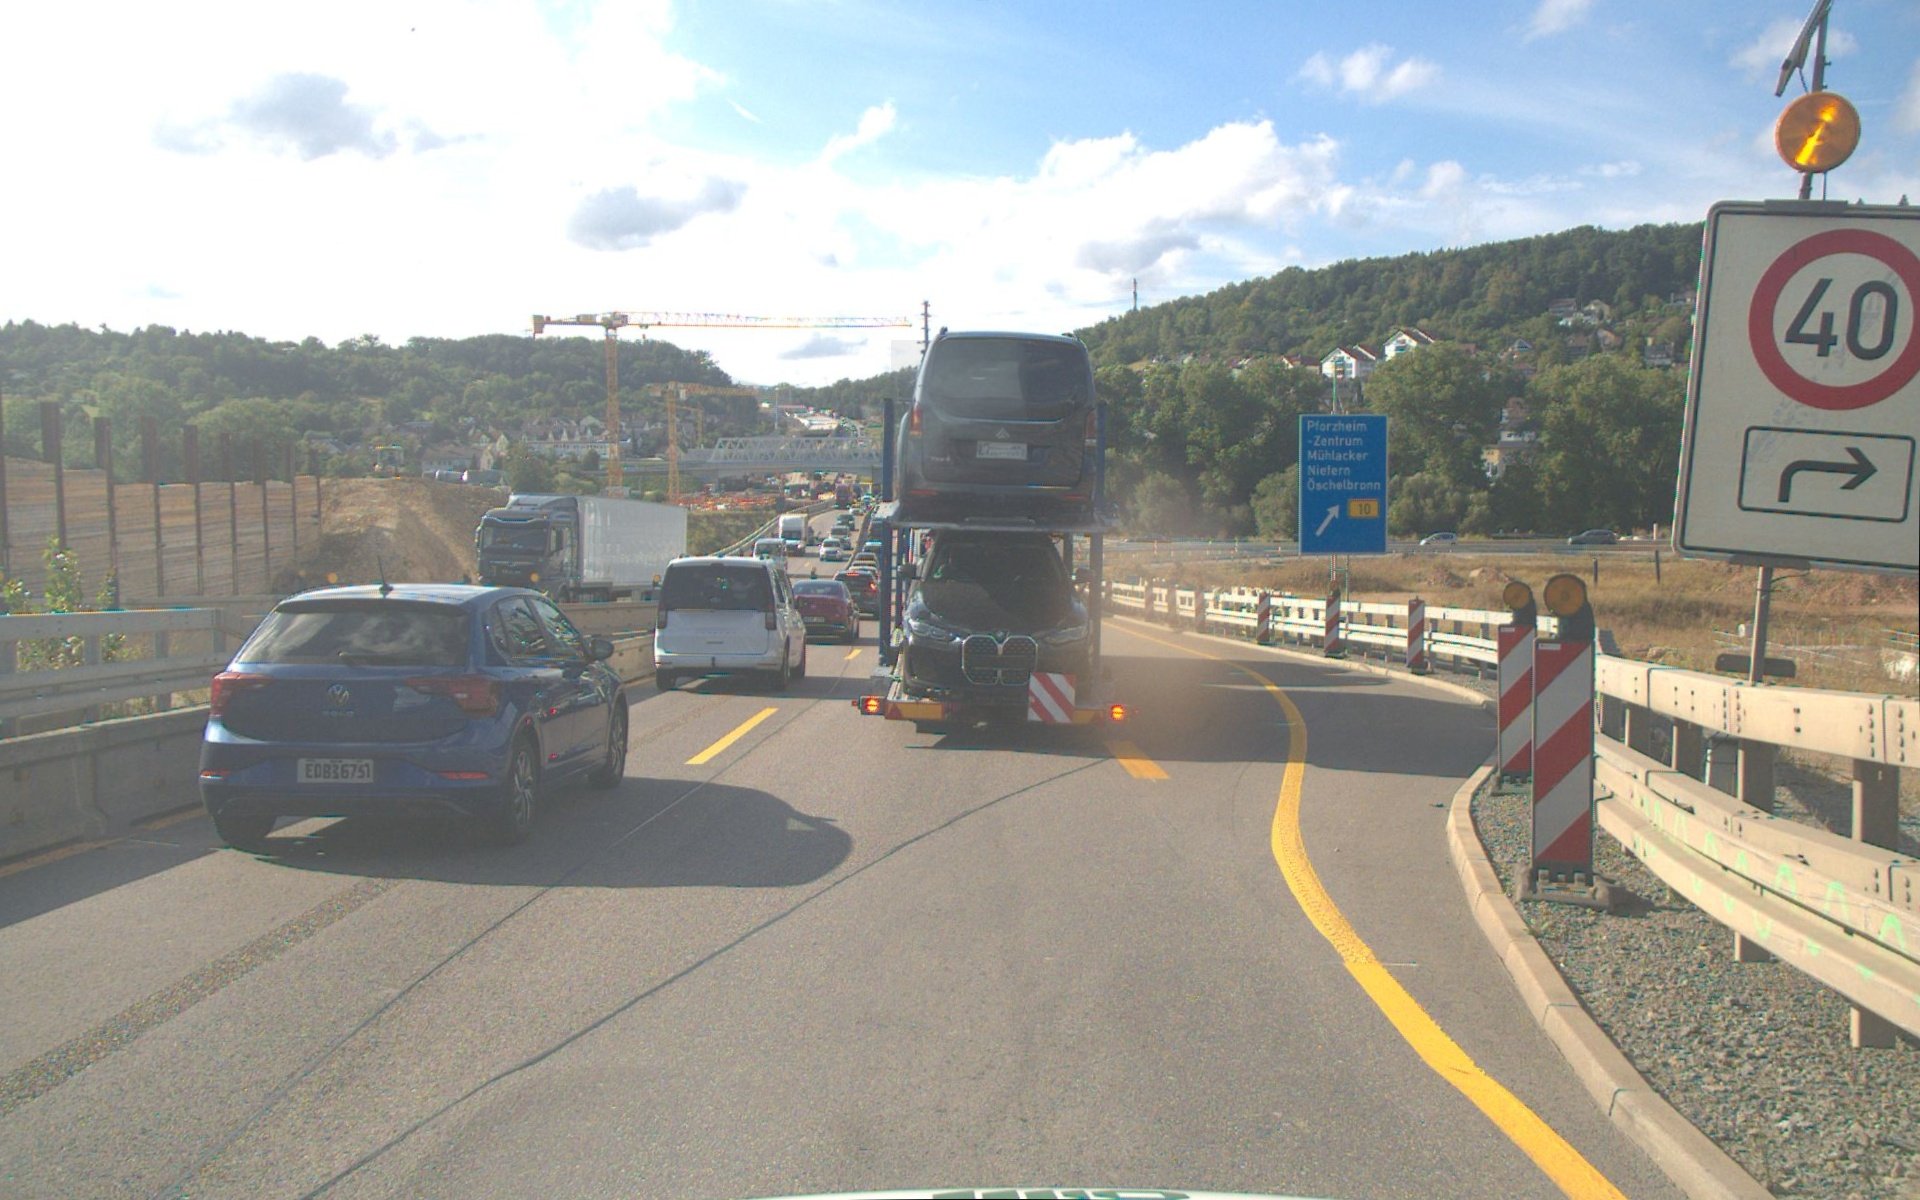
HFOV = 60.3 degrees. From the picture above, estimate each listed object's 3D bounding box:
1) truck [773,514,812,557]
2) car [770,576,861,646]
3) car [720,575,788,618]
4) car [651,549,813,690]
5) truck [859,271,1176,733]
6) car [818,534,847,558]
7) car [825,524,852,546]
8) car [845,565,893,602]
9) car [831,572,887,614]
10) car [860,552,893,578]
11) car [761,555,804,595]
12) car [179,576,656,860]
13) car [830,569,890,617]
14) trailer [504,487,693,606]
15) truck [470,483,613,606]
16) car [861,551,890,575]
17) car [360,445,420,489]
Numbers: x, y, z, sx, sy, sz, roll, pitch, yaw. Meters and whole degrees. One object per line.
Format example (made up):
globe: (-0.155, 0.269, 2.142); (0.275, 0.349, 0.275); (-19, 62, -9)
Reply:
truck: (-14.208, -5.443, 140.623); (2.646, 3.369, 7.534); (1, 0, -2)
car: (-3.461, 0.249, 40.280); (1.953, 1.583, 4.399); (1, 0, -2)
car: (-8.801, -0.145, 71.014); (1.951, 1.757, 4.125); (1, 0, 6)
car: (-3.181, 0.260, 23.801); (1.786, 1.823, 3.999); (1, 0, -1)
truck: (0.348, -0.873, 24.179); (2.697, 4.023, 18.885); (2, 0, -1)
car: (-10.193, -4.323, 132.507); (2.082, 1.702, 4.273); (1, 4, -1)
car: (-11.037, -5.973, 150.670); (2.082, 1.796, 5.032); (2, 4, -1)
car: (-4.007, -0.703, 73.417); (1.953, 1.579, 3.999); (1, 0, -1)
car: (-3.947, -0.270, 65.290); (1.953, 1.579, 3.999); (1, 0, -1)
car: (-5.408, -2.241, 107.357); (1.953, 1.579, 3.999); (1, 0, -1)
car: (-11.533, -1.584, 107.852); (2.212, 2.444, 5.866); (1, 0, -1)
car: (-3.153, 0.599, 10.489); (1.686, 1.447, 4.000); (0, 0, 0)
car: (-3.448, -0.230, 56.965); (1.954, 1.579, 3.997); (1, 0, -4)
trailer: (-13.156, -1.778, 61.910); (2.761, 3.908, 13.812); (1, 0, 5)
truck: (-13.807, -1.754, 55.094); (2.718, 3.854, 6.022); (1, 0, 5)
car: (-6.135, -2.682, 120.347); (1.953, 1.579, 3.999); (1, 0, -1)
car: (-35.800, -8.346, 104.062); (1.954, 2.177, 5.319); (-4, 0, -2)
